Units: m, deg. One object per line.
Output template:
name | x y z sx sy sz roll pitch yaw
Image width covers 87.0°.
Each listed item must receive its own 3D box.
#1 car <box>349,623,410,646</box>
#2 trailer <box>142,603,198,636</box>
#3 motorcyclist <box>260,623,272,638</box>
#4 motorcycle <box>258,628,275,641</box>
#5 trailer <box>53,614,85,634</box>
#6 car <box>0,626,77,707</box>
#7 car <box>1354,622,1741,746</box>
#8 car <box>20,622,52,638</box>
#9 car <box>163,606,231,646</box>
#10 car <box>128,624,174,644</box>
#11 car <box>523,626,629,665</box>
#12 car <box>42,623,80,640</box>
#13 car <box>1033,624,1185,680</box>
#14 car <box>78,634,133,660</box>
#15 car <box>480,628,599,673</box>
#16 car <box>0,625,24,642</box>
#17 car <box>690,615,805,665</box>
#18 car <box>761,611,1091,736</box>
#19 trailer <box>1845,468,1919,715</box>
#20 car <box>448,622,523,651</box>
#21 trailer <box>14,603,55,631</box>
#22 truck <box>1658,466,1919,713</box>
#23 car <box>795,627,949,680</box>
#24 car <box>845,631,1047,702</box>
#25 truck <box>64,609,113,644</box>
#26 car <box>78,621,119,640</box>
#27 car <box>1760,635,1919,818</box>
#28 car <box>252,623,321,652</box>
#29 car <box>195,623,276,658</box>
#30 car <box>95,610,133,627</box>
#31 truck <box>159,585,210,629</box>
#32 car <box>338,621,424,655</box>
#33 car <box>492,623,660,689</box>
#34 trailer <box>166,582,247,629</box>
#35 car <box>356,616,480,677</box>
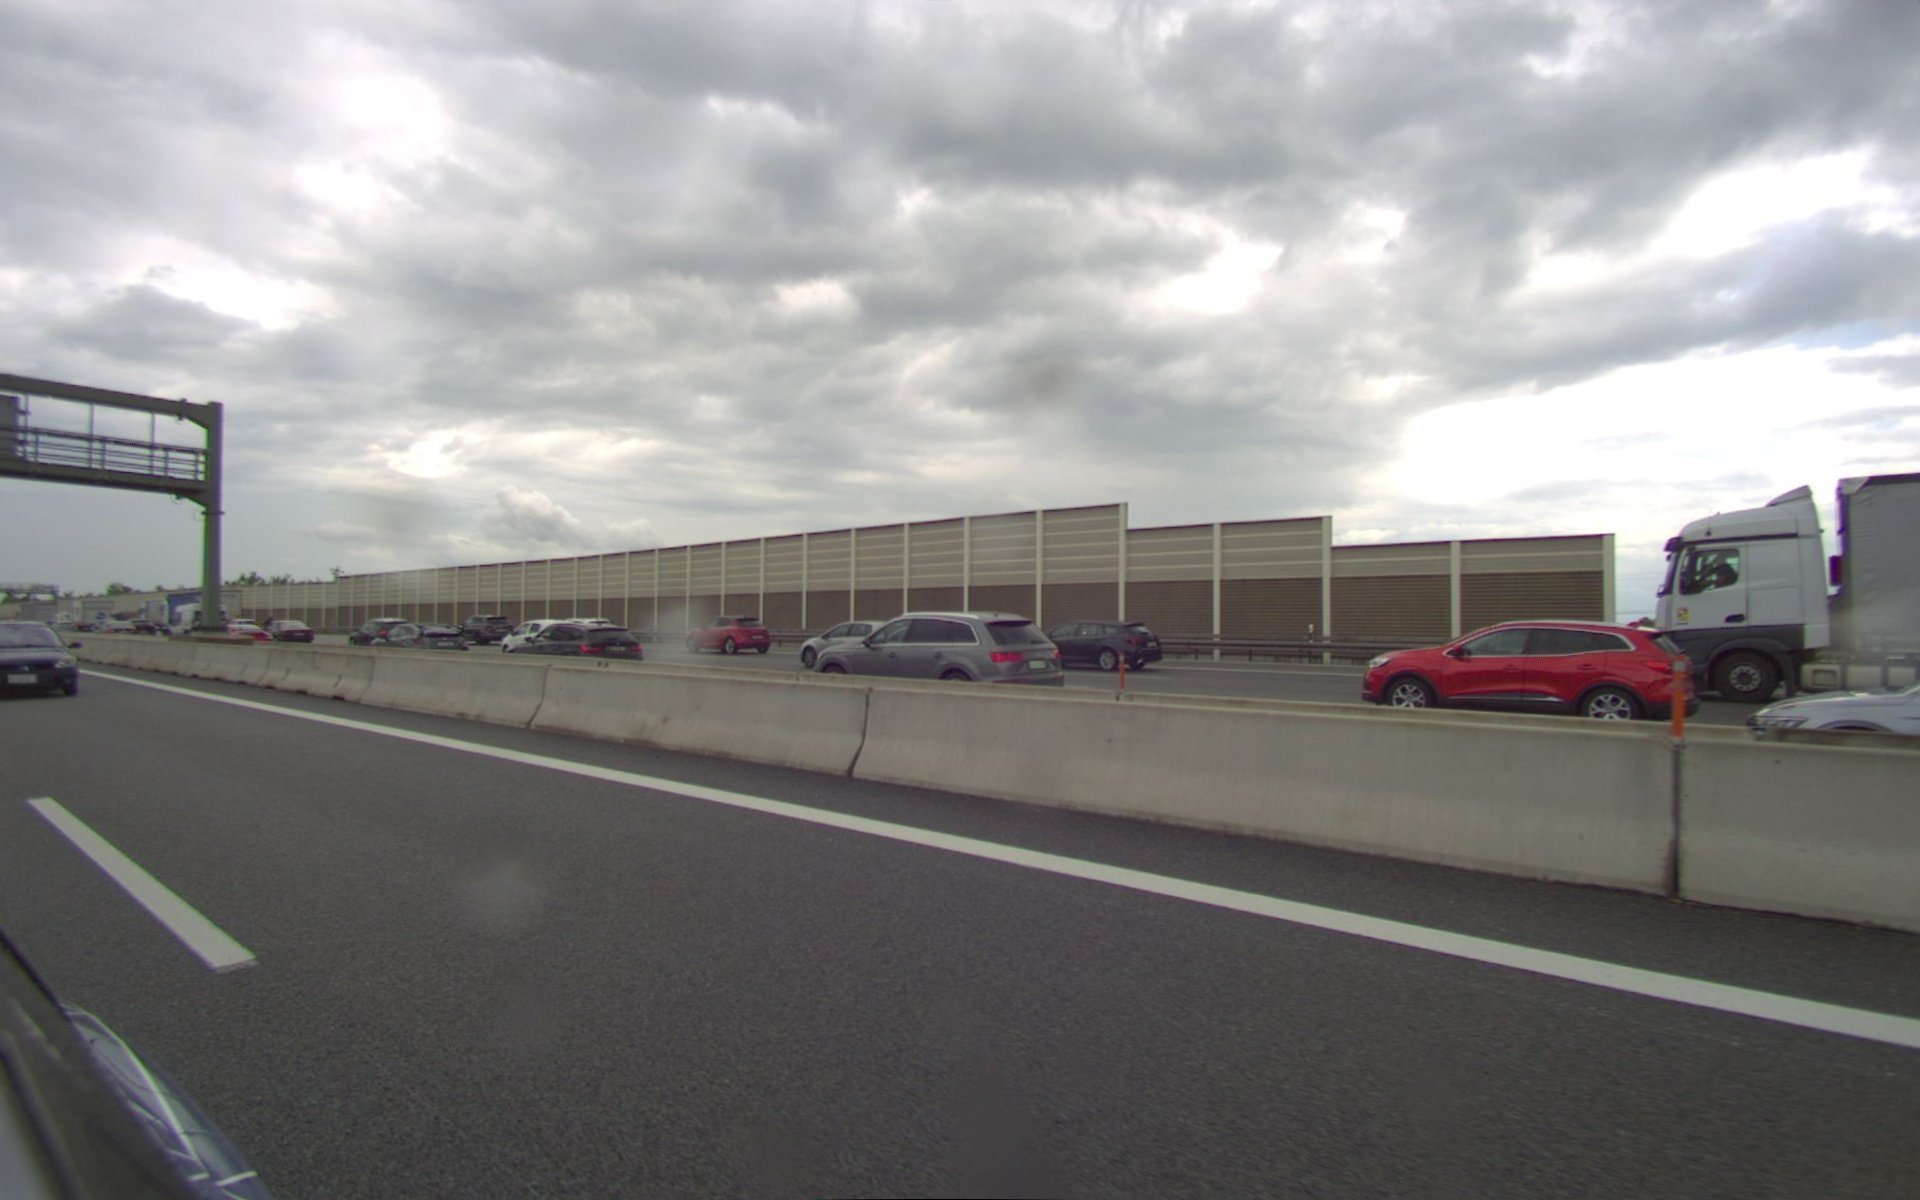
car | -38.774 2.269 67.553 4.996 1.502 2.038 -1 -1 42
trailer | -101.261 2.488 129.618 13.849 4.062 2.906 -1 -1 40
motorcyclist | -55.226 2.433 80.534 0.796 1.233 0.630 -2 -1 41
motorcycle | -55.103 2.729 80.444 2.429 1.015 0.512 -2 -1 41
trailer | -119.836 3.227 136.079 6.080 2.514 2.434 -2 -2 40
car | -18.347 1.228 19.437 3.998 1.413 1.558 -1 -1 41
car | 8.645 1.115 15.168 4.718 1.546 2.038 -1 -1 42
car | -100.459 3.275 109.957 5.010 1.712 1.854 -2 -2 39
car | -51.072 1.713 67.675 7.085 2.569 2.358 -1 -1 42
car | -63.211 2.621 79.068 4.996 1.502 2.038 -1 -1 42
car | -15.964 1.833 41.963 4.996 1.502 2.038 -1 -1 42
car | -88.186 3.059 99.260 4.993 1.612 2.039 -1 -1 40
car | 4.261 1.453 29.257 3.998 1.464 1.782 -2 -1 41
car | -54.988 3.001 65.113 4.996 1.502 2.038 -1 -1 42
car | -15.307 1.774 36.692 4.996 1.502 2.038 -1 -1 42
car | -85.746 2.971 90.687 4.992 1.502 2.040 -1 -1 39
car | -8.729 1.574 41.284 4.996 1.894 2.038 -1 -1 42
car | -0.836 1.158 18.230 6.326 1.894 2.038 -1 -1 42
trailer | 21.475 -0.255 13.524 14.448 4.062 2.900 -2 -2 42
car | -26.550 1.999 56.530 4.996 1.502 2.038 -1 -1 42
trailer | -139.474 2.680 152.371 14.441 4.062 2.733 -1 -1 40
truck | 16.261 -0.146 18.209 5.724 4.065 2.940 -1 -2 42
car | -2.661 1.525 30.039 4.522 1.427 2.038 -1 -1 42
car | -0.394 1.449 23.381 4.522 1.427 2.038 -1 -1 42
truck | -95.185 2.879 110.438 9.990 3.554 2.668 -2 -1 41
car | -74.745 2.625 87.766 4.996 1.502 2.038 -1 -1 42
car | 10.222 1.109 8.434 5.469 1.546 2.038 -1 -1 42
car | -37.431 2.061 56.191 4.996 1.502 2.038 -1 -1 42
car | -33.910 1.846 47.312 4.996 1.502 2.038 -1 -1 42
car | -82.721 1.832 98.961 4.993 1.612 2.039 -1 -1 40
truck | -74.194 0.748 96.789 5.721 4.065 2.717 -1 -1 40
car | -27.009 1.716 47.114 4.996 1.502 2.038 -1 -1 42
car | -10.052 1.373 26.303 4.996 1.546 2.038 -1 -1 42
trailer | -68.918 0.623 92.364 14.440 4.062 2.733 -1 -1 40
car | -18.001 1.472 33.522 4.996 1.894 2.038 -1 -1 42
